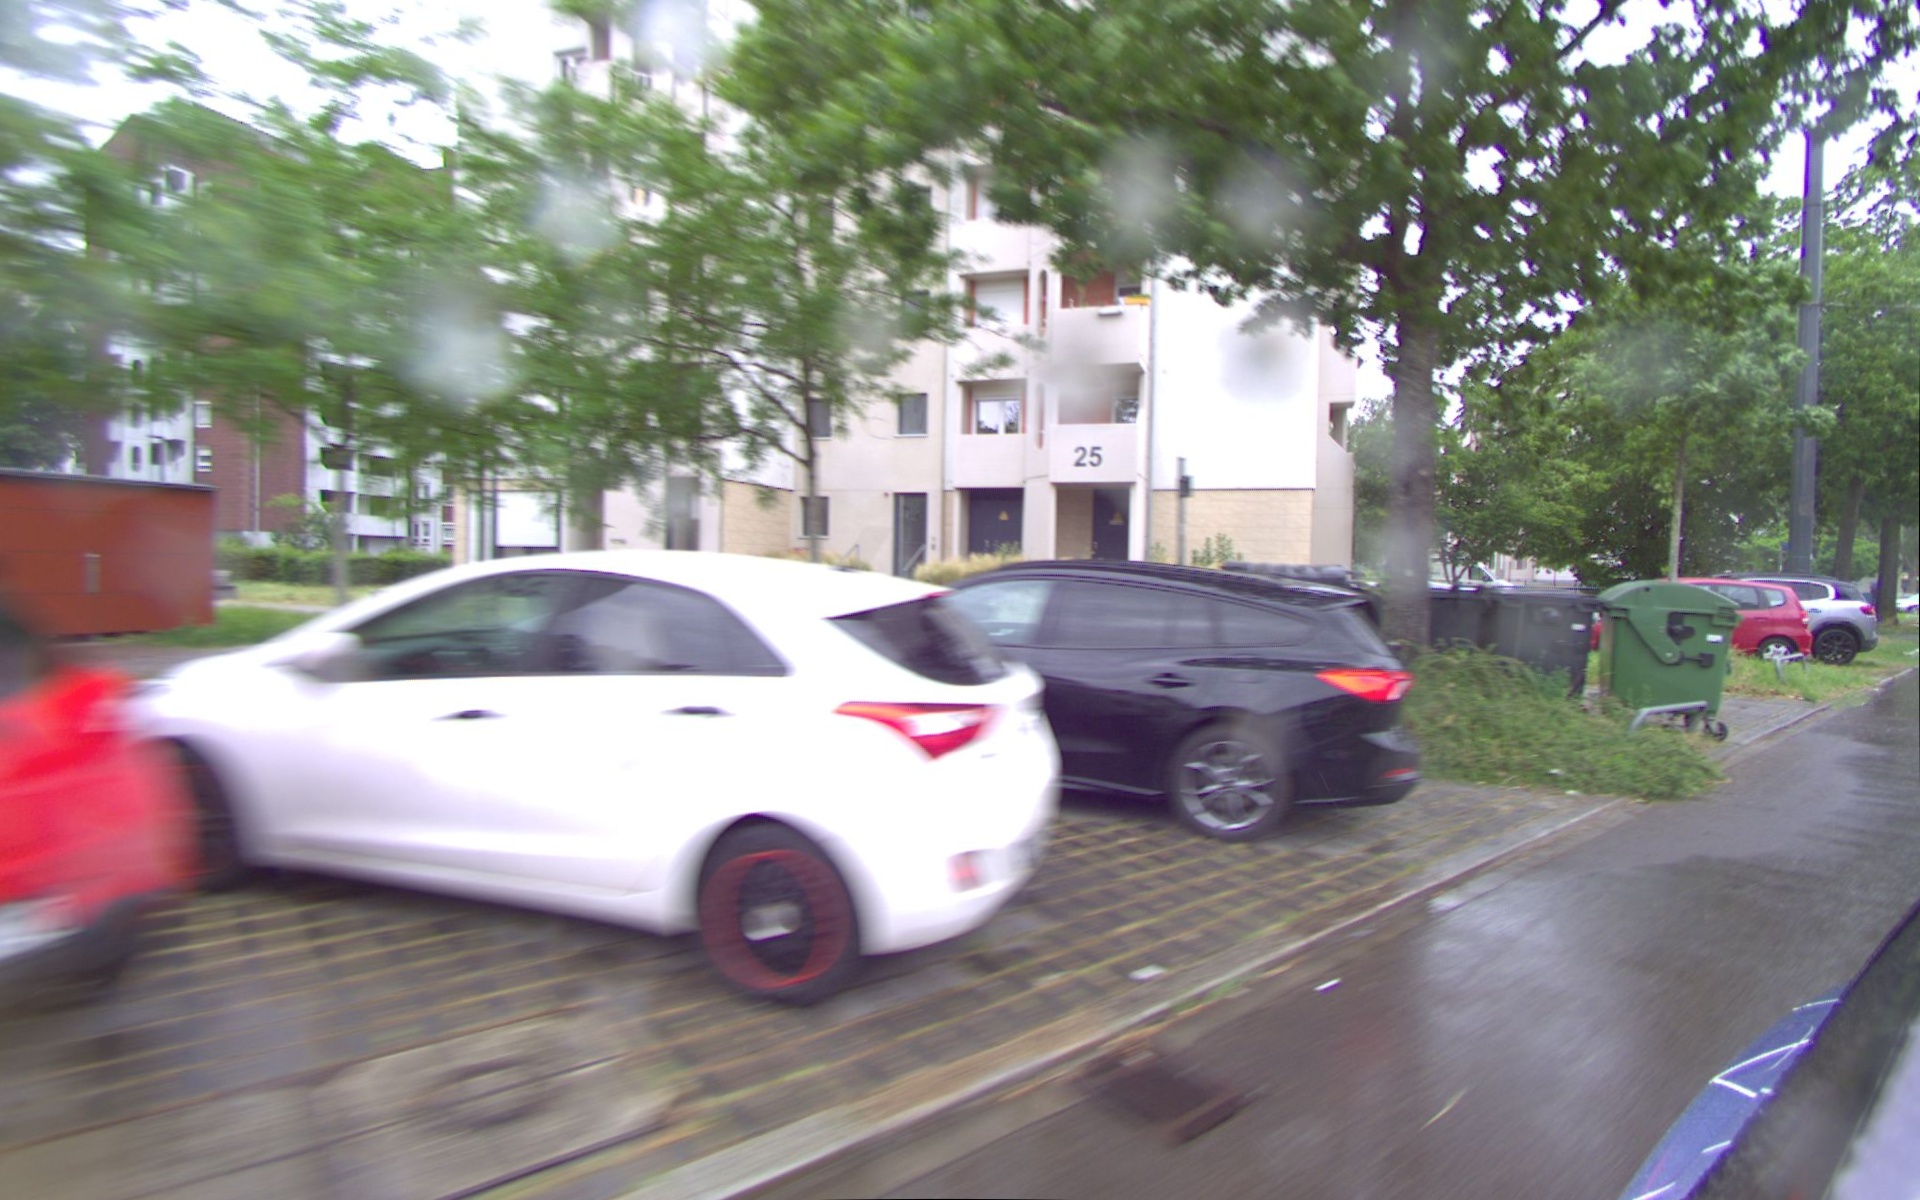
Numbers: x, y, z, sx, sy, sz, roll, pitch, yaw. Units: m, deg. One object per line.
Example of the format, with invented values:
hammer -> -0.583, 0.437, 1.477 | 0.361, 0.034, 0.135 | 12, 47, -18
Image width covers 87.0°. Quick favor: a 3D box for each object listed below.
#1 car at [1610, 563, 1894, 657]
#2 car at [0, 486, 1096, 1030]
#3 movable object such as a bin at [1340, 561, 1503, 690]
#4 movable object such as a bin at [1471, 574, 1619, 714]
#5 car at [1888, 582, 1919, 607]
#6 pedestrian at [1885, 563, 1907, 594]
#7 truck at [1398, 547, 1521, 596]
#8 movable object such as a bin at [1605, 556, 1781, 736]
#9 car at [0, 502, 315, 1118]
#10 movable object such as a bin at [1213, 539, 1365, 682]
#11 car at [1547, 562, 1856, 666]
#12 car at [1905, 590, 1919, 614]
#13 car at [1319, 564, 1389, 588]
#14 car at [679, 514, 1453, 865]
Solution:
car -> 15.407, 0.141, 19.926 | 3.988, 1.706, 1.718 | 1, 2, 15
car -> -1.740, 0.382, 4.548 | 4.399, 1.483, 1.811 | 4, 3, 16
movable object such as a bin -> 4.786, 0.237, 10.606 | 1.220, 1.267, 1.185 | 0, 2, 6
movable object such as a bin -> 5.958, 0.409, 10.390 | 0.982, 1.329, 1.183 | 0, 2, 12
car -> 55.452, -0.323, 56.867 | 4.423, 1.344, 1.988 | 0, 2, 20
pedestrian -> 62.850, -1.442, 67.932 | 1.140, 2.038, 1.013 | -2, 2, -43
truck -> 26.245, -1.514, 53.239 | 5.633, 2.468, 2.100 | 1, 2, 32
movable object such as a bin -> 6.996, 0.379, 9.764 | 1.152, 1.581, 1.362 | 0, 2, 27
car -> -4.391, 0.361, 2.811 | 4.393, 1.445, 1.804 | 4, 3, 12
movable object such as a bin -> 3.469, 0.088, 10.831 | 1.344, 1.440, 1.184 | 0, 1, 8
car -> 13.058, 0.189, 18.105 | 3.989, 1.506, 1.718 | 4, 3, 15
car -> 58.187, 0.126, 58.723 | 4.426, 1.344, 1.986 | 0, 2, 22
car -> 21.785, -1.319, 55.931 | 3.394, 1.298, 1.583 | 1, 2, 32
car -> 0.564, 0.341, 6.532 | 4.404, 1.560, 1.675 | 4, 5, 19
